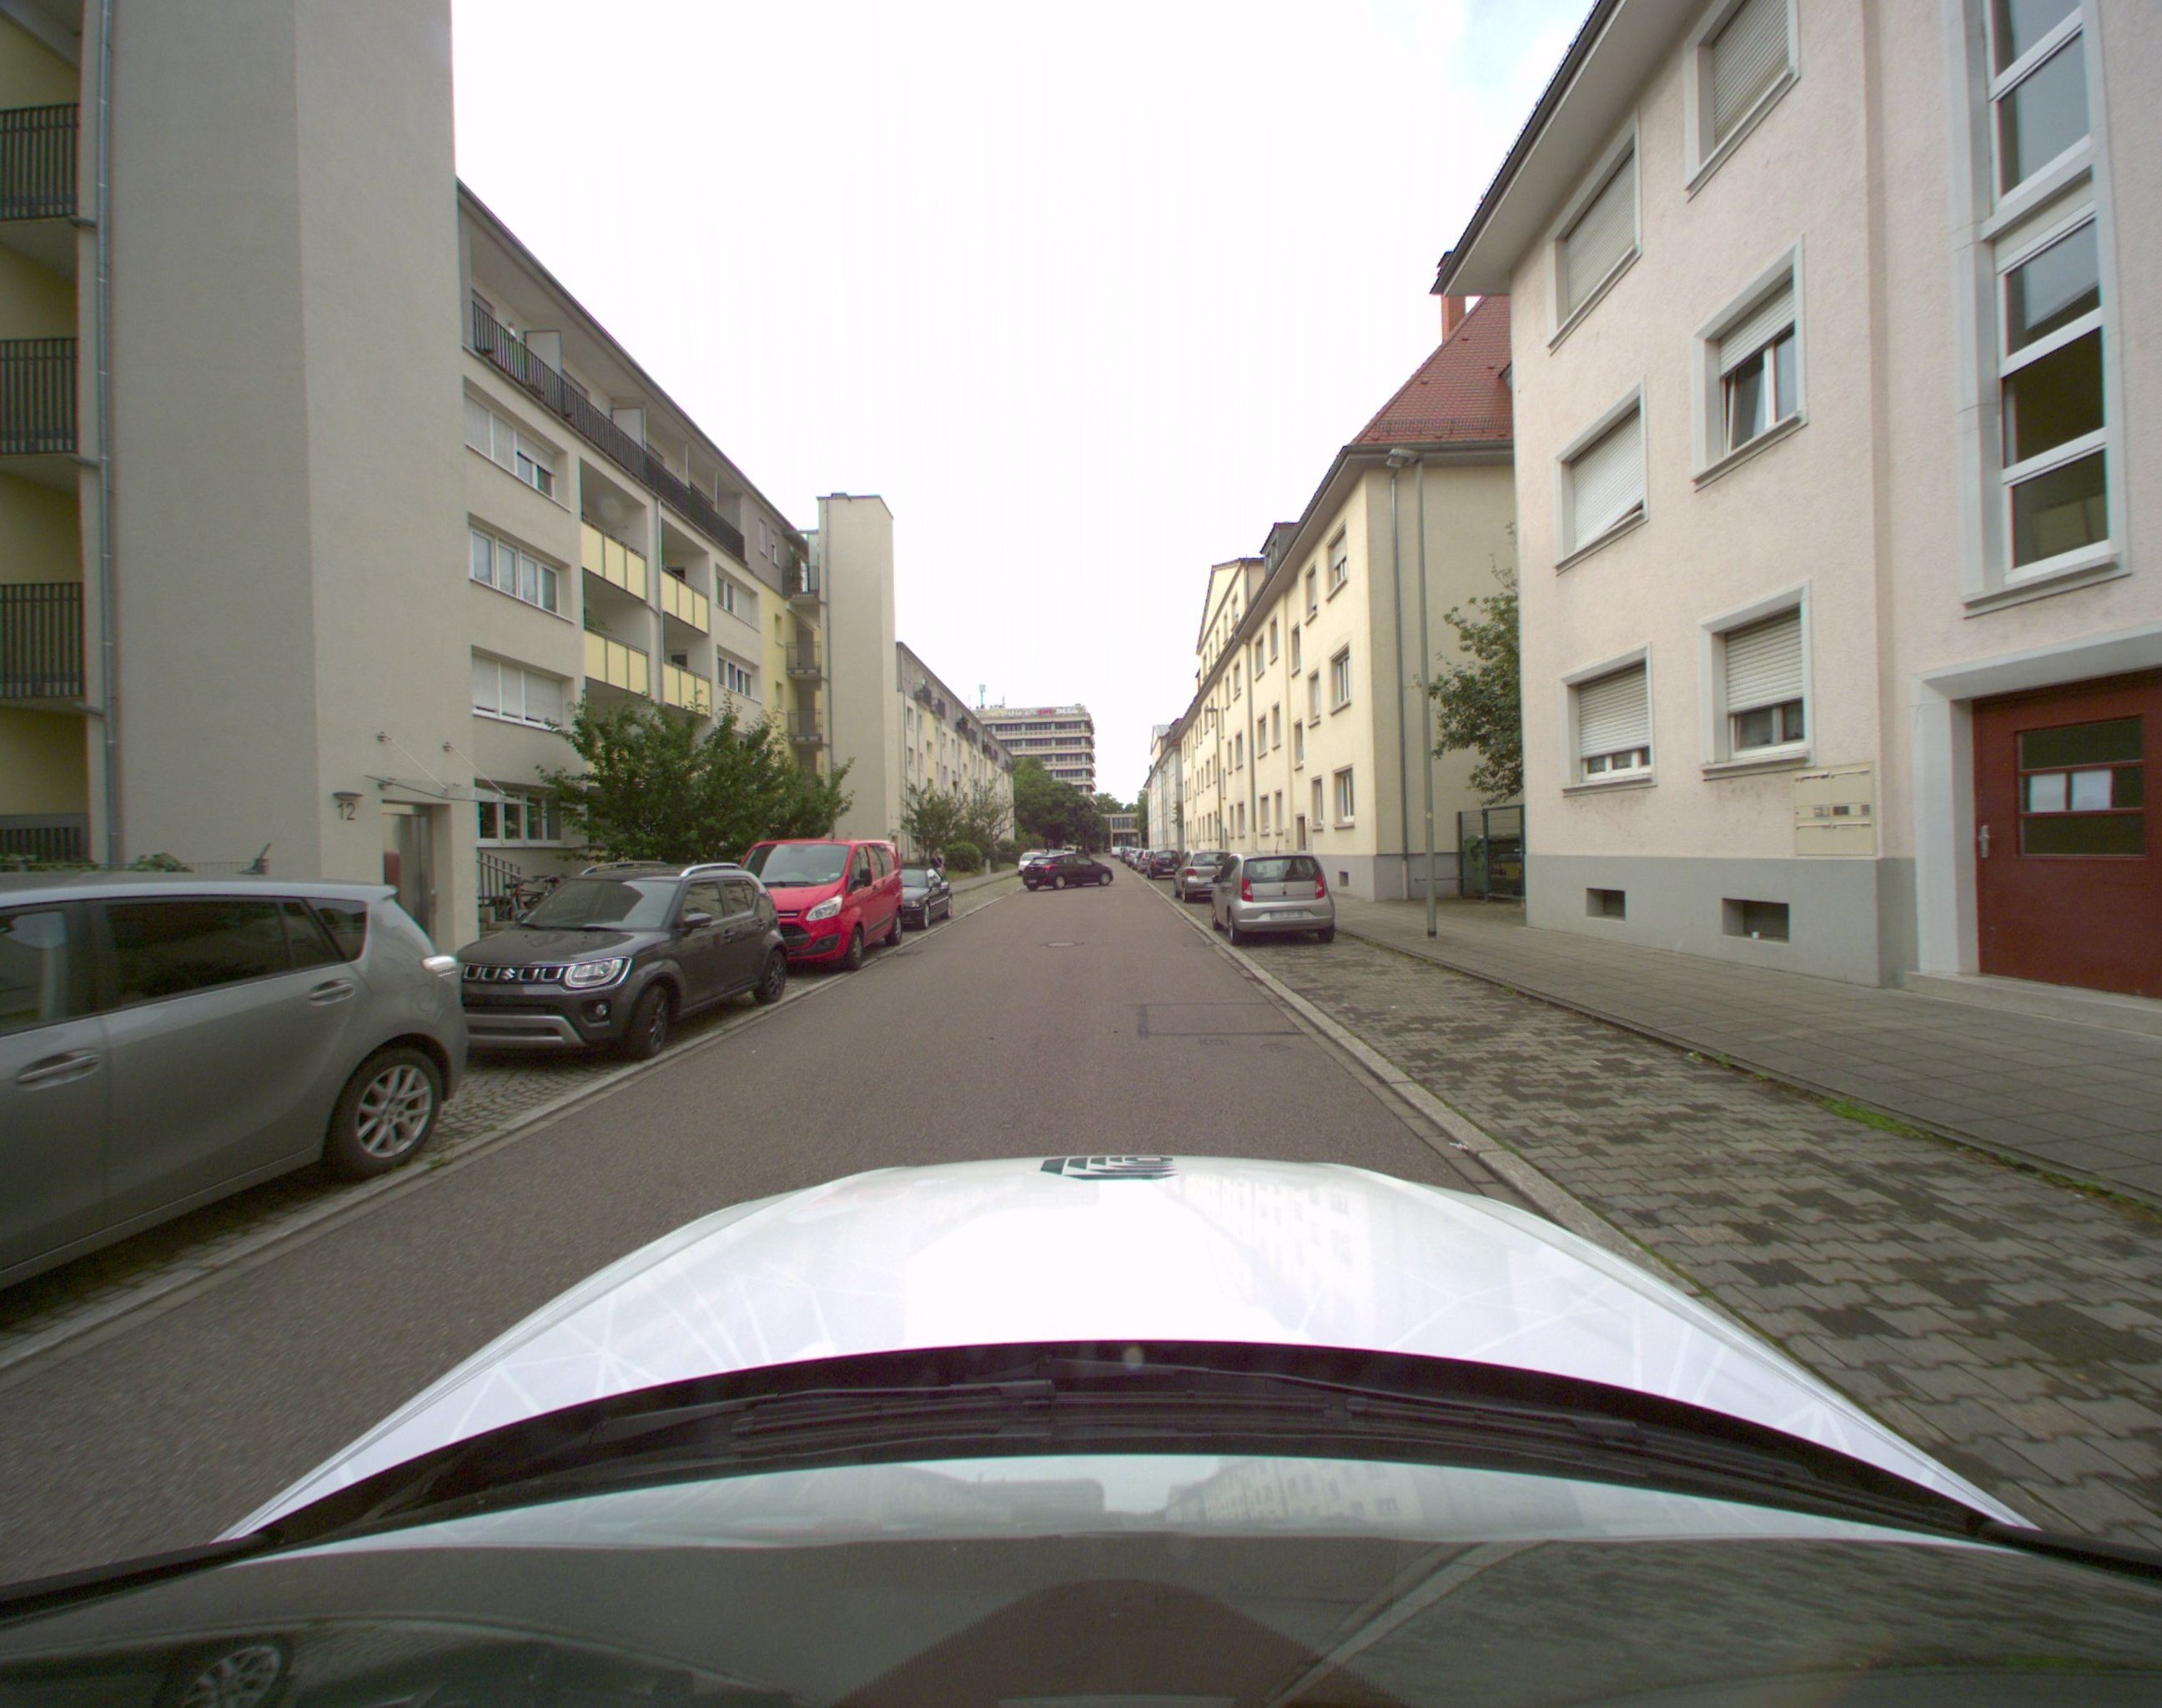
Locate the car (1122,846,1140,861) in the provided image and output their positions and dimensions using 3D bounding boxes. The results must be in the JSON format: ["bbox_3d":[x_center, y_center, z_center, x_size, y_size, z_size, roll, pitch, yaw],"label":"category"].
[{"bbox_3d":[5.618,-0.096,91.989,1.813,1.603,4.094,-2,0,2],"label":"car"}]

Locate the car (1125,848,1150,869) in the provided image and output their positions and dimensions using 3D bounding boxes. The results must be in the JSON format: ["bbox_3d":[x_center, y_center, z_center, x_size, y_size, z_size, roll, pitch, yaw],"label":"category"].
[{"bbox_3d":[4.289,0.328,62.062,1.718,1.476,4.507,-1,0,2],"label":"car"}]

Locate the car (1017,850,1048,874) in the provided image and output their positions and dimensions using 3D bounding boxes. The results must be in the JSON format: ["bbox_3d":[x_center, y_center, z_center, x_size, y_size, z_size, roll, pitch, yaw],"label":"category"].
[{"bbox_3d":[-3.187,0.495,53.943,1.714,1.570,3.872,0,0,2],"label":"car"}]

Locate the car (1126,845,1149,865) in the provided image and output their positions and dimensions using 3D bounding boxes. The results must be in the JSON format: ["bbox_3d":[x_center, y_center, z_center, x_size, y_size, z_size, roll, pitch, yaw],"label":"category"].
[{"bbox_3d":[4.868,0.069,70.730,1.813,1.642,4.094,-1,0,2],"label":"car"}]

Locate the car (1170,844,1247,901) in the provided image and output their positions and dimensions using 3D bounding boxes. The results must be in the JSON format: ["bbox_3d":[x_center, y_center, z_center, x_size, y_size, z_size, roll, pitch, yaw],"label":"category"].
[{"bbox_3d":[3.736,0.496,24.519,1.719,1.517,4.062,-2,0,1],"label":"car"}]

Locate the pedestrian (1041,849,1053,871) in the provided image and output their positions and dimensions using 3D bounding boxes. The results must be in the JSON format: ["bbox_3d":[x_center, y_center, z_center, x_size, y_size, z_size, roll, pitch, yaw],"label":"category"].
[{"bbox_3d":[-2.695,0.490,64.979,0.742,1.701,0.792,-3,0,-16],"label":"pedestrian"}]

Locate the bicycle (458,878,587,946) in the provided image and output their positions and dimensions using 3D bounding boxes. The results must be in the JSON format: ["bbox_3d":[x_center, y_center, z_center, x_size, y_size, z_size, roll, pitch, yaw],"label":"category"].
[{"bbox_3d":[-9.806,1.016,14.343,1.828,1.118,0.605,-1,0,0],"label":"bicycle"}]

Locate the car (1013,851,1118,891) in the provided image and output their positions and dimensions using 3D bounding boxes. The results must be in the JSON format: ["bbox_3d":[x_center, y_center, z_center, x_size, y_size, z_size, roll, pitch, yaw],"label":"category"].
[{"bbox_3d":[-0.591,0.697,33.941,1.885,1.432,4.258,-2,0,45],"label":"car"}]

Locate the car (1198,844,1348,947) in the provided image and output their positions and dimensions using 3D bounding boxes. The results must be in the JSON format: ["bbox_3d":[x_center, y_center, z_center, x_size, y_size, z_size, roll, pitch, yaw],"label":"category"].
[{"bbox_3d":[3.195,0.611,14.347,1.719,1.492,4.062,-2,1,1],"label":"car"}]

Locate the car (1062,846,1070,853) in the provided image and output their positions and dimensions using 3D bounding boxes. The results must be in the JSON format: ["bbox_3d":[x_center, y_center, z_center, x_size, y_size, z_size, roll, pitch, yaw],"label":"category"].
[{"bbox_3d":[-3.184,-0.944,173.589,1.659,1.333,3.397,-2,1,2],"label":"car"}]

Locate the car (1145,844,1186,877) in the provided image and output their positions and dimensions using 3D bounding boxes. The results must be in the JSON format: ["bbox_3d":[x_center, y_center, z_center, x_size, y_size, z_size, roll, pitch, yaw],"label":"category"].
[{"bbox_3d":[4.226,0.301,41.411,1.719,1.517,4.062,-2,0,1],"label":"car"}]

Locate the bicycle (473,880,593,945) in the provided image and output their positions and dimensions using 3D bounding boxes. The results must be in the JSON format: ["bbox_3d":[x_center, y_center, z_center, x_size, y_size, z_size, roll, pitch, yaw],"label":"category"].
[{"bbox_3d":[-10.083,1.065,15.021,1.827,1.118,0.571,-2,0,3],"label":"bicycle"}]

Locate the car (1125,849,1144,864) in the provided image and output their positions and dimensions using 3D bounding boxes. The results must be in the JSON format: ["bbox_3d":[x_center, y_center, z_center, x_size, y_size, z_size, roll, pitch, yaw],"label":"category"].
[{"bbox_3d":[5.698,0.244,86.872,1.813,1.503,4.094,-2,0,2],"label":"car"}]

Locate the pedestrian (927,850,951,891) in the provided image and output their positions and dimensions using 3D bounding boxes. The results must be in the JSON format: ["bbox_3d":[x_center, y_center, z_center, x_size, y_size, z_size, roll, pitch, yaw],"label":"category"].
[{"bbox_3d":[-5.863,0.673,33.752,0.798,1.610,0.946,-2,0,-3],"label":"pedestrian"}]

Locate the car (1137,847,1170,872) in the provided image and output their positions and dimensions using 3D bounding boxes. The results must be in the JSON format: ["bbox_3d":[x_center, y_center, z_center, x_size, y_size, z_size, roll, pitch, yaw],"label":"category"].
[{"bbox_3d":[4.544,0.314,51.763,1.842,1.450,3.834,-2,0,2],"label":"car"}]

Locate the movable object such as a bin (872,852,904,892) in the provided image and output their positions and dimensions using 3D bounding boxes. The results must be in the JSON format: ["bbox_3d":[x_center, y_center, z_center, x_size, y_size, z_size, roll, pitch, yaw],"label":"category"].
[{"bbox_3d":[-7.281,0.665,30.780,0.800,1.429,1.290,-1,0,5],"label":"movable object such as a bin"}]

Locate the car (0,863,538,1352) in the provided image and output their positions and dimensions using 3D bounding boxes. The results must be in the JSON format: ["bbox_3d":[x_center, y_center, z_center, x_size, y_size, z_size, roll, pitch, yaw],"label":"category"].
[{"bbox_3d":[-4.499,0.864,2.959,1.829,1.570,4.860,0,0,-1],"label":"car"}]

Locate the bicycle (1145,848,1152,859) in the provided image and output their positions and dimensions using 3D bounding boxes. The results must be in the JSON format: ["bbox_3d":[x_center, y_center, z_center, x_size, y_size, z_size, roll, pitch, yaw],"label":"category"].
[{"bbox_3d":[7.054,-0.058,85.425,0.527,1.175,2.041,-3,0,8],"label":"bicycle"}]

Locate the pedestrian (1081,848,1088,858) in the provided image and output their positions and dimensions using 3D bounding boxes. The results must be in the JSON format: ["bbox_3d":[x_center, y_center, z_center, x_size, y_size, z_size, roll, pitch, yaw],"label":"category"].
[{"bbox_3d":[0.590,-0.185,132.484,0.968,1.654,0.981,-3,0,1],"label":"pedestrian"}]

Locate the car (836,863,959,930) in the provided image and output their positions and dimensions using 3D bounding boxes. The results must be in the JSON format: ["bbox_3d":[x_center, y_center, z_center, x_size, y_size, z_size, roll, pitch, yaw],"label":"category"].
[{"bbox_3d":[-4.182,0.907,19.252,1.864,1.323,4.362,0,0,0],"label":"car"}]

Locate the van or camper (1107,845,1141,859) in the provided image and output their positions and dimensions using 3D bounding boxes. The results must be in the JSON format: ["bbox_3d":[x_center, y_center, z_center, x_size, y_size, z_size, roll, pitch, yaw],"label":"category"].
[{"bbox_3d":[6.636,-0.307,126.522,5.159,2.013,1.998,-2,0,-3],"label":"van or camper"}]

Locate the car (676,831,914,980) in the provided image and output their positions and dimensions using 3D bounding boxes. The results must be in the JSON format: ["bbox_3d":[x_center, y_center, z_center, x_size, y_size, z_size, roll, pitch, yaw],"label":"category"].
[{"bbox_3d":[-4.271,0.656,13.191,2.145,1.954,4.920,0,0,-1],"label":"car"}]

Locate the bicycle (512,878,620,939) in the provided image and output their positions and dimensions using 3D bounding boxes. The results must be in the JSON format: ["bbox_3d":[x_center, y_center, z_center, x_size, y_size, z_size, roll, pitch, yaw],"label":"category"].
[{"bbox_3d":[-10.108,1.067,15.998,1.824,1.118,0.572,-2,0,7],"label":"bicycle"}]

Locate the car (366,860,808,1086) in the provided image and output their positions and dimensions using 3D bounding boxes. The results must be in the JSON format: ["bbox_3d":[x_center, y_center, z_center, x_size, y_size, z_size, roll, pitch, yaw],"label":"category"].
[{"bbox_3d":[-4.245,0.870,7.902,1.714,1.570,4.056,0,0,2],"label":"car"}]

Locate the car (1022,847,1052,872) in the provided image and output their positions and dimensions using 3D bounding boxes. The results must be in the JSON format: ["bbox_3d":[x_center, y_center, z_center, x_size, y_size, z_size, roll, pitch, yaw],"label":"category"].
[{"bbox_3d":[-3.217,0.354,59.833,1.950,1.770,4.360,-1,0,-1],"label":"car"}]

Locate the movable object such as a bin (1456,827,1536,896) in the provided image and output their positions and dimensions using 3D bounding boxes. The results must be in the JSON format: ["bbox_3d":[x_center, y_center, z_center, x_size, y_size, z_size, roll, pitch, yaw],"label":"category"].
[{"bbox_3d":[9.144,0.150,17.984,1.157,1.443,1.150,-2,0,1],"label":"movable object such as a bin"}]
